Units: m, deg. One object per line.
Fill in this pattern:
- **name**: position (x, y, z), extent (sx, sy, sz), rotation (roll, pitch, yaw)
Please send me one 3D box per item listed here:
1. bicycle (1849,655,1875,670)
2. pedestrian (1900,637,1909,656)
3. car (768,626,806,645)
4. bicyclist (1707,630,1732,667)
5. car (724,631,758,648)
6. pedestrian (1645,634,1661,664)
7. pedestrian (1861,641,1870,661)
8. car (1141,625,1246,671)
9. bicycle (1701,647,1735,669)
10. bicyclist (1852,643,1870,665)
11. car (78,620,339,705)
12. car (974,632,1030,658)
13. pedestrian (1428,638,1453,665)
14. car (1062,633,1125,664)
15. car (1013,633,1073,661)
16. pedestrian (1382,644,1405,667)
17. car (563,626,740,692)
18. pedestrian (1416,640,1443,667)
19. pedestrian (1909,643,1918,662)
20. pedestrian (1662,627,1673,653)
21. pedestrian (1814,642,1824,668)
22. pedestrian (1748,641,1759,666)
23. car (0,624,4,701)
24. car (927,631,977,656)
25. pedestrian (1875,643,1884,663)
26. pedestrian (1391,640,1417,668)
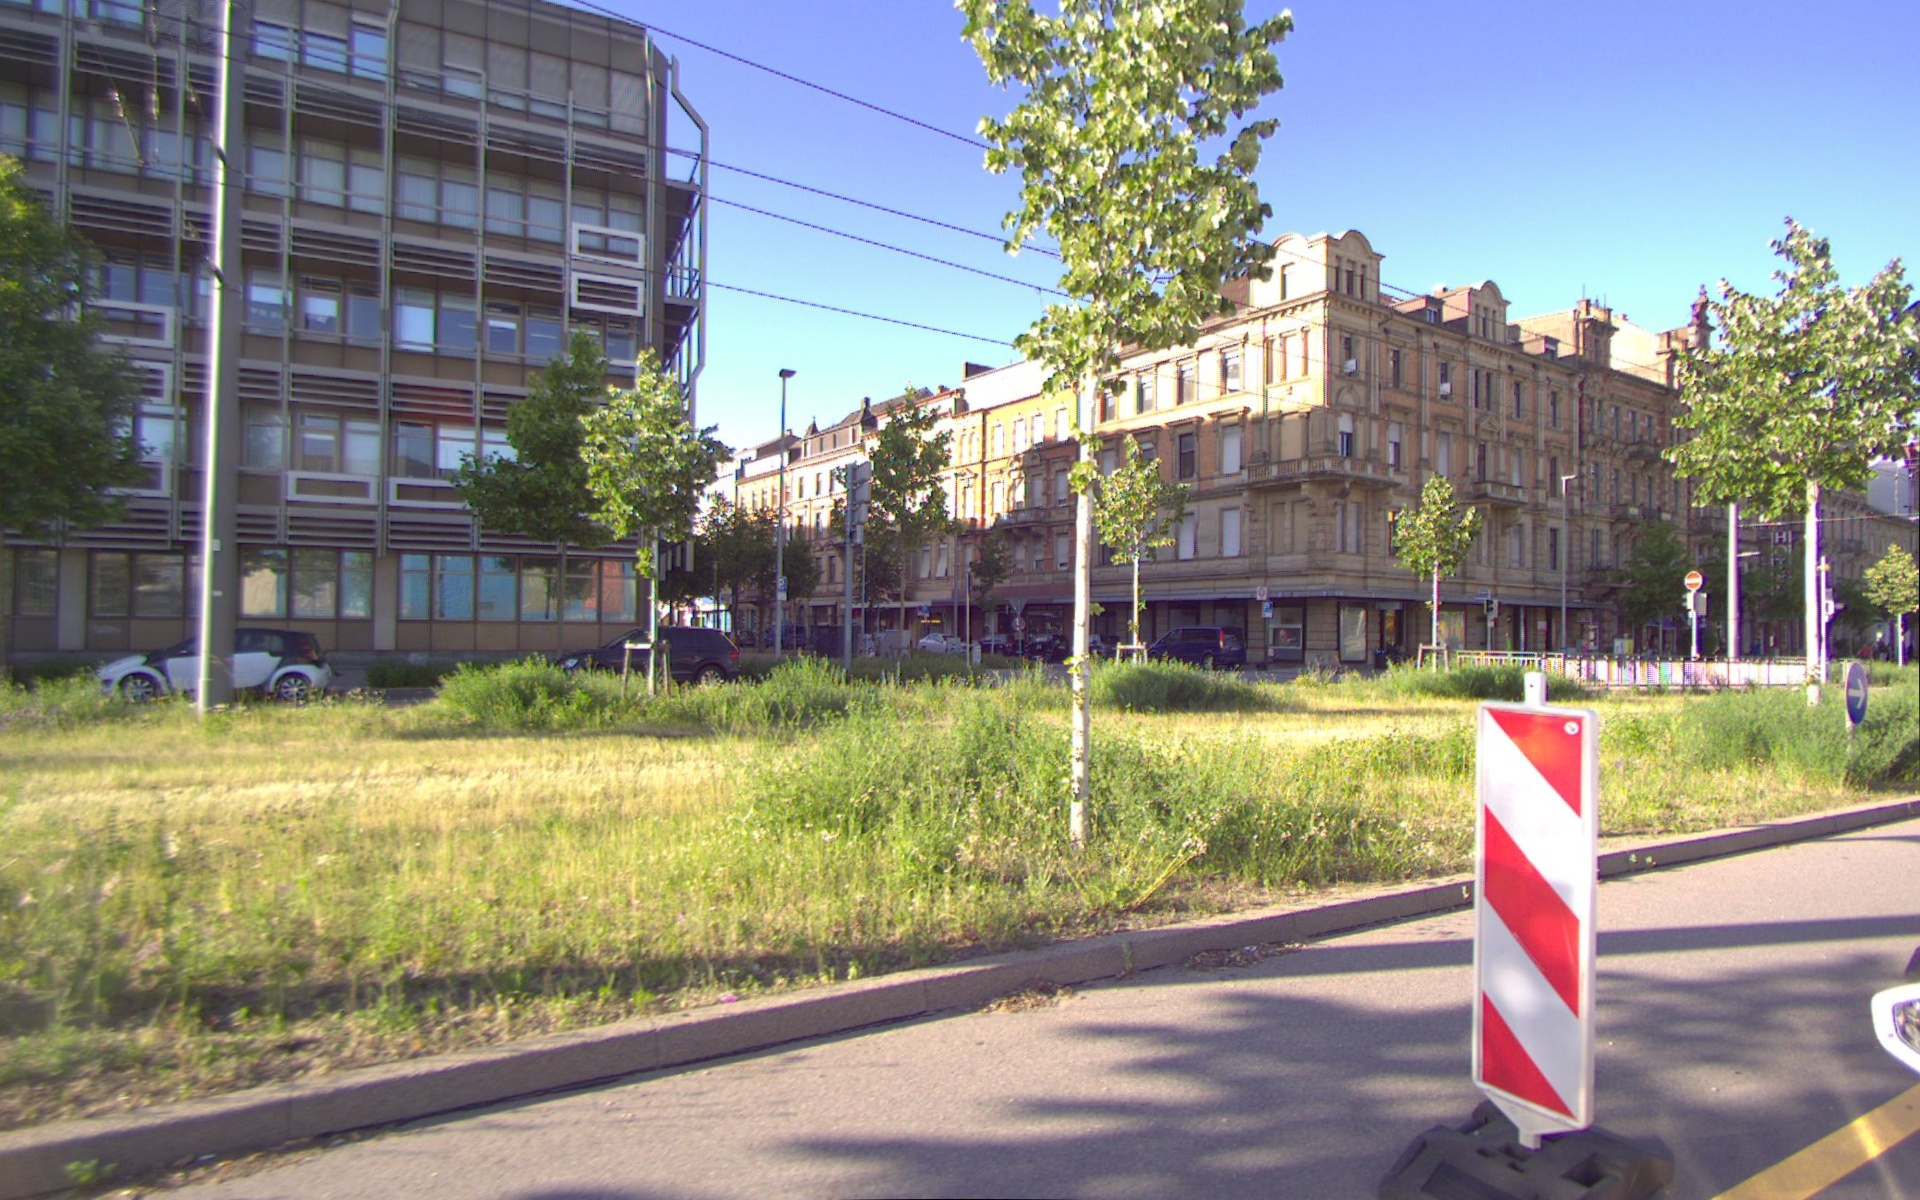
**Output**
- **bicycle**: position (52.134, 3.601, 58.041), extent (2.009, 0.869, 0.633), rotation (2, -2, -33)
- **pedestrian**: position (77.026, 3.798, 81.936), extent (0.430, 1.553, 0.402), rotation (2, 0, -33)
- **car**: position (-13.550, 2.769, 78.630), extent (1.585, 1.427, 3.327), rotation (2, -2, -37)
- **bicyclist**: position (35.607, 2.276, 47.101), extent (0.873, 1.679, 0.691), rotation (2, -1, -33)
- **car**: position (-18.778, 3.377, 85.988), extent (1.557, 1.397, 3.659), rotation (1, -1, -36)
- **pedestrian**: position (37.647, 2.663, 54.582), extent (0.528, 1.606, 0.484), rotation (2, 0, -33)
- **pedestrian**: position (75.002, 4.226, 83.236), extent (0.382, 1.606, 0.430), rotation (2, 1, -35)
- **car**: position (10.478, 2.131, 45.370), extent (1.881, 1.928, 4.476), rotation (2, -2, -37)
- **bicycle**: position (35.466, 2.697, 47.006), extent (1.807, 0.991, 0.691), rotation (2, -2, -33)
- **bicyclist**: position (51.974, 3.123, 57.935), extent (0.730, 1.256, 0.634), rotation (2, -1, -32)
- **car**: position (-14.961, 1.226, 20.277), extent (3.913, 1.574, 1.644), rotation (2, -1, -26)
- **car**: position (2.349, 2.511, 56.281), extent (1.566, 1.427, 3.030), rotation (2, -2, -37)
- **pedestrian**: position (22.946, 2.452, 47.927), extent (0.919, 1.224, 0.686), rotation (2, -1, -32)
- **car**: position (6.706, 2.441, 50.563), extent (1.371, 1.487, 3.121), rotation (2, -2, -37)
- **car**: position (4.424, 2.492, 53.874), extent (1.566, 1.427, 3.030), rotation (2, -2, -37)
- **pedestrian**: position (20.362, 2.608, 47.173), extent (0.728, 1.073, 0.686), rotation (2, -1, -32)
- **car**: position (-7.487, 1.409, 24.441), extent (3.854, 1.480, 1.722), rotation (2, -2, -30)
- **pedestrian**: position (22.008, 2.486, 47.068), extent (0.919, 1.224, 0.787), rotation (2, -1, -32)
- **pedestrian**: position (84.774, 4.671, 89.295), extent (0.431, 1.606, 0.457), rotation (2, 1, -40)
- **pedestrian**: position (45.327, 2.568, 64.346), extent (0.383, 1.606, 0.385), rotation (2, 0, -3)
- **pedestrian**: position (60.570, 3.869, 70.813), extent (0.402, 1.788, 0.364), rotation (2, 1, -33)
- **pedestrian**: position (51.364, 3.446, 65.037), extent (0.421, 1.606, 0.401), rotation (2, 1, -33)
- **car**: position (-19.566, 1.139, 17.561), extent (3.768, 1.460, 1.619), rotation (2, 0, -26)
- **car**: position (-0.515, 2.610, 60.349), extent (1.472, 1.427, 3.030), rotation (2, -2, -37)
- **pedestrian**: position (75.467, 4.377, 82.430), extent (0.335, 1.606, 0.426), rotation (2, 0, -32)
- **pedestrian**: position (20.392, 2.468, 46.154), extent (0.919, 1.263, 0.686), rotation (2, -1, -32)
